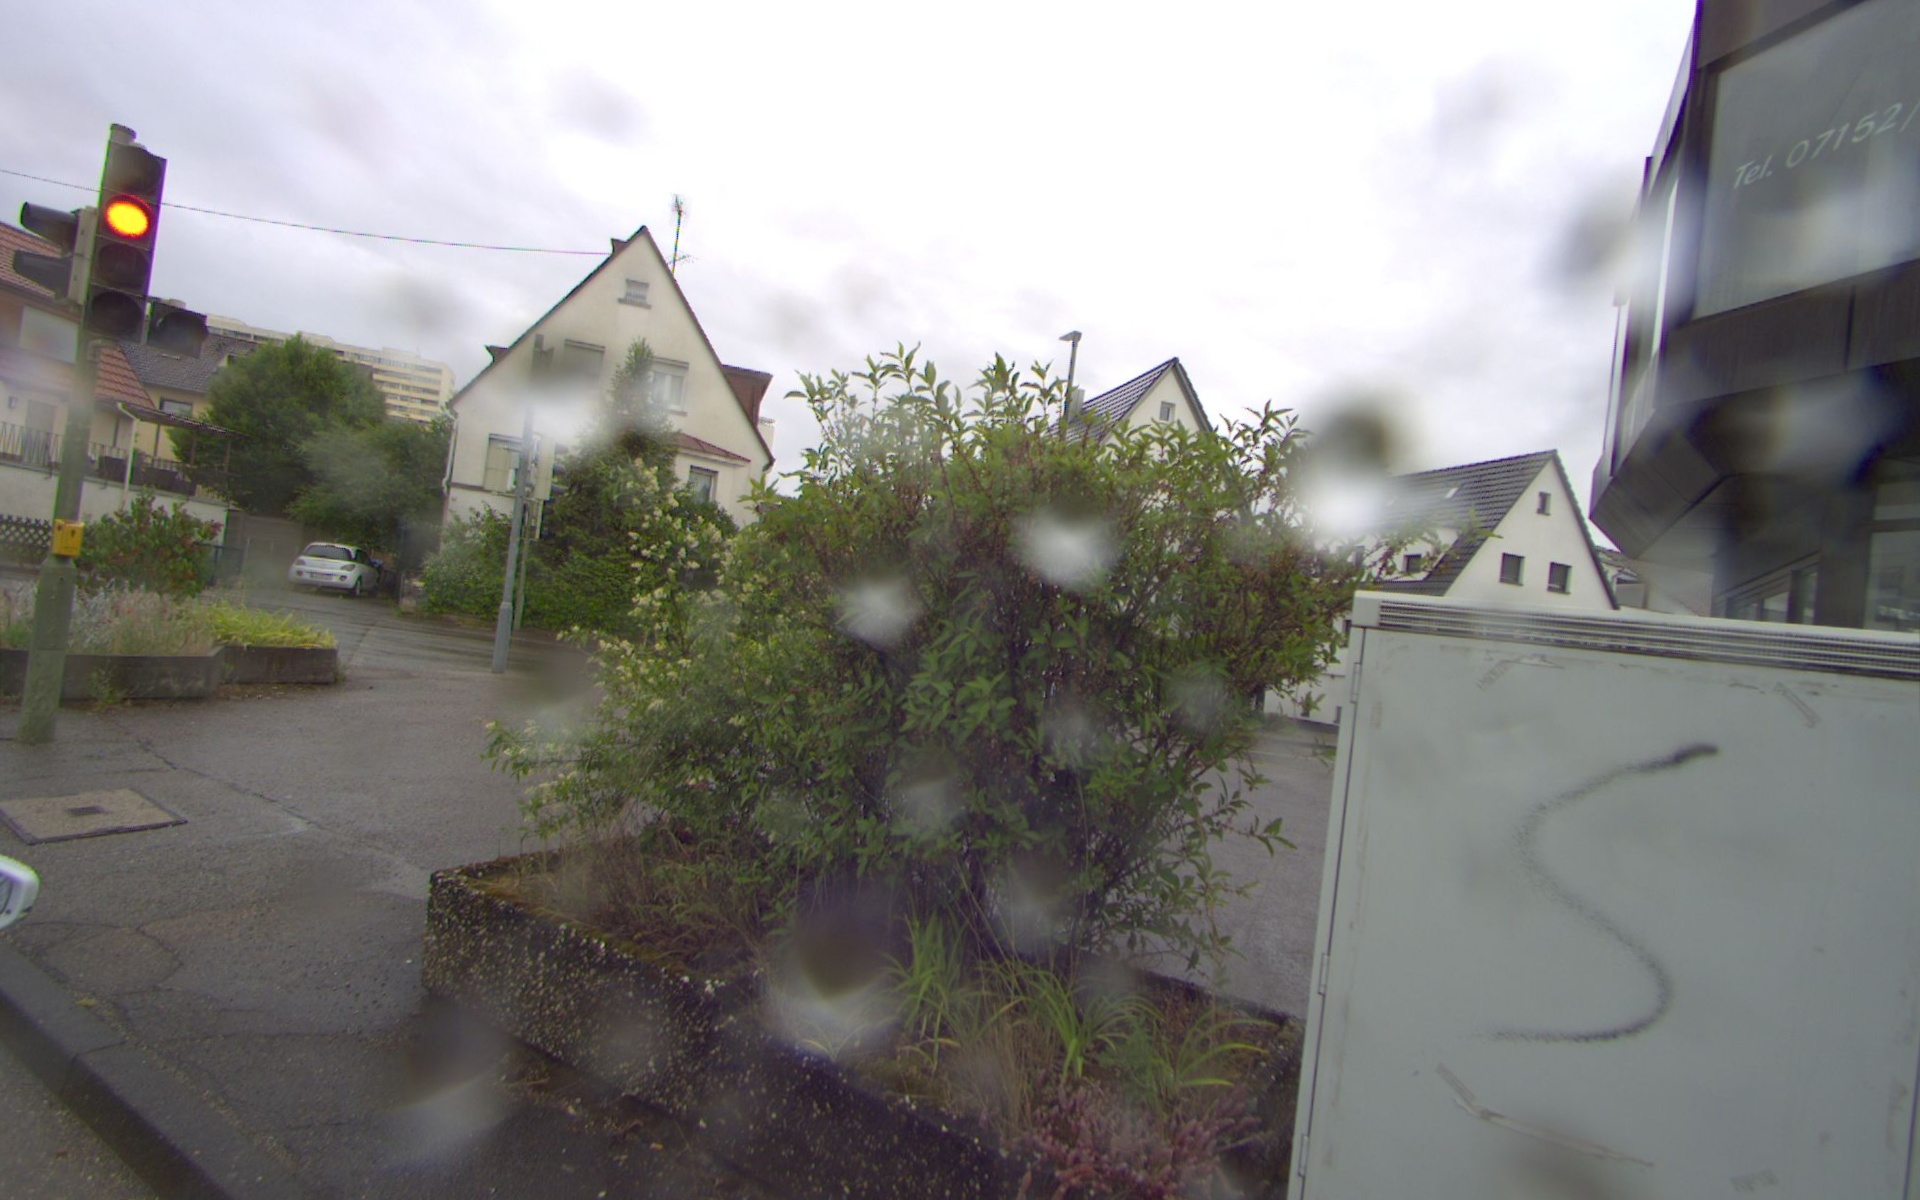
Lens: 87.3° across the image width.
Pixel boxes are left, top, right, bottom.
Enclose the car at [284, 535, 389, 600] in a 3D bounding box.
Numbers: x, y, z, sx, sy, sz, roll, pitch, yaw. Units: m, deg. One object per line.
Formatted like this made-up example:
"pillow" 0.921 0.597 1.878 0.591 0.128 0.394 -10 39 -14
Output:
"car" -18.334 -0.936 29.759 1.722 1.532 3.982 9 -2 -21
